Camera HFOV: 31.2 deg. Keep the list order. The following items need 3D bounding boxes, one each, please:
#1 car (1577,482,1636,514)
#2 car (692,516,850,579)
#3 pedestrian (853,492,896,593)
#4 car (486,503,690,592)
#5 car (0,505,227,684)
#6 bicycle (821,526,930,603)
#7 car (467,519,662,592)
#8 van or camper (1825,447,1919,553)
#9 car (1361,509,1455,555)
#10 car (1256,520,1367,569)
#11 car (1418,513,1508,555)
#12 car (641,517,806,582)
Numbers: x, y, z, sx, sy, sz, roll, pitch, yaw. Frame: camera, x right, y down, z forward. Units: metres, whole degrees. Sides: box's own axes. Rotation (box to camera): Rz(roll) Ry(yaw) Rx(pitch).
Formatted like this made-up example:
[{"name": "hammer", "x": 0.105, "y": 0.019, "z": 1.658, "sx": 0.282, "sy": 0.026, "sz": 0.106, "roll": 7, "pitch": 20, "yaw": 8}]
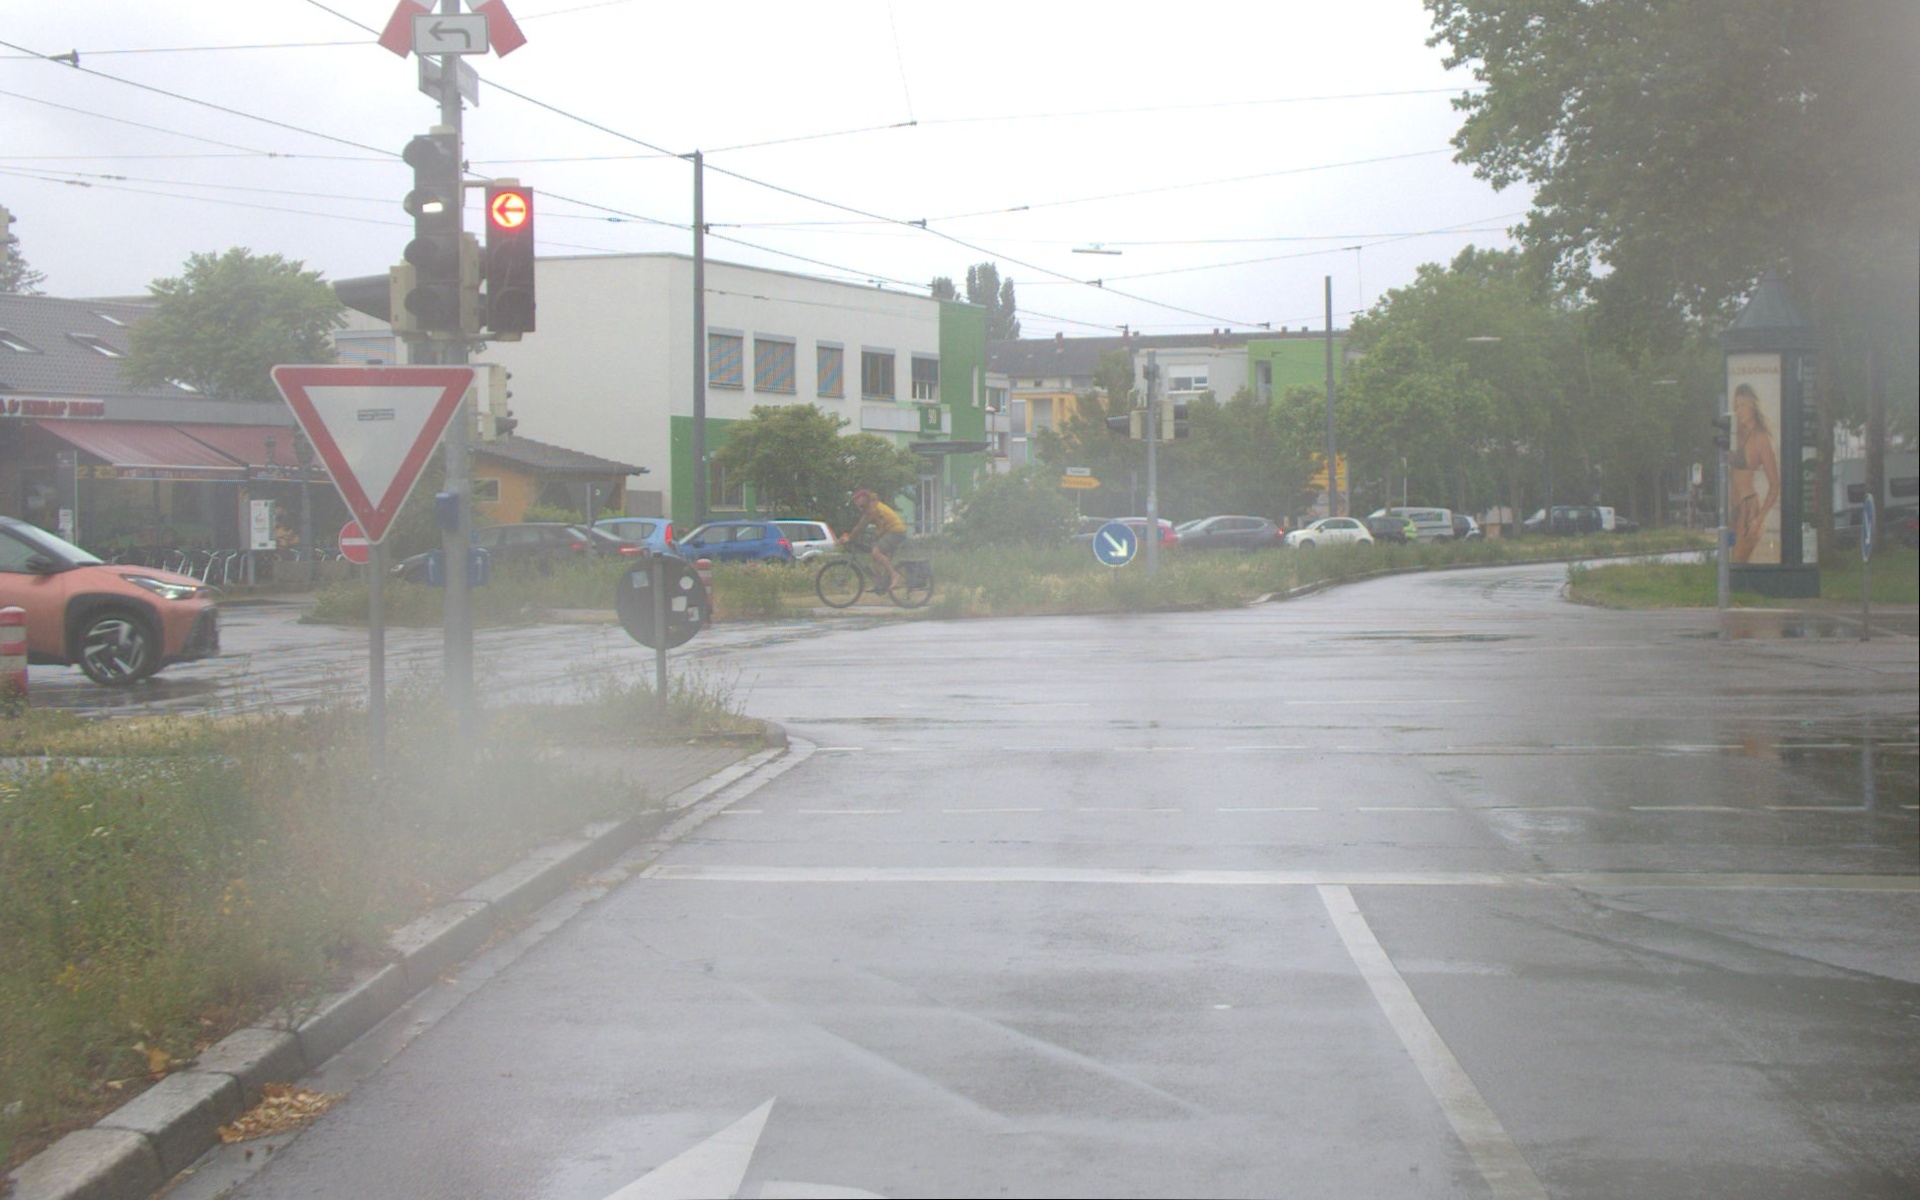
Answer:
[{"name": "car", "x": 41.561, "y": -6.550, "z": 220.987, "sx": 3.446, "sy": 2.007, "sz": 1.806, "roll": -1, "pitch": 1, "yaw": 18}, {"name": "car", "x": -4.602, "y": -1.274, "z": 83.383, "sx": 3.749, "sy": 1.437, "sz": 1.763, "roll": -1, "pitch": 1, "yaw": -5}, {"name": "pedestrian", "x": -1.256, "y": -0.842, "z": 50.526, "sx": 0.576, "sy": 1.470, "sz": 0.500, "roll": -1, "pitch": 1, "yaw": 2}, {"name": "car", "x": -8.124, "y": -1.151, "z": 75.236, "sx": 4.136, "sy": 1.853, "sz": 1.673, "roll": -1, "pitch": 1, "yaw": 8}, {"name": "car", "x": -8.499, "y": -0.039, "z": 30.259, "sx": 3.817, "sy": 1.494, "sz": 1.652, "roll": -1, "pitch": 1, "yaw": -6}, {"name": "bicycle", "x": -1.233, "y": -0.528, "z": 50.527, "sx": 1.561, "sy": 1.098, "sz": 0.500, "roll": -1, "pitch": 1, "yaw": 2}, {"name": "car", "x": -8.236, "y": -0.931, "z": 71.783, "sx": 3.750, "sy": 1.437, "sz": 1.762, "roll": -1, "pitch": 1, "yaw": 4}, {"name": "van or camper", "x": 25.187, "y": -2.571, "z": 88.849, "sx": 5.225, "sy": 2.688, "sz": 2.241, "roll": 2, "pitch": 2, "yaw": 20}, {"name": "car", "x": 20.046, "y": -3.031, "z": 153.911, "sx": 4.136, "sy": 1.969, "sz": 1.673, "roll": -1, "pitch": 1, "yaw": 8}, {"name": "car", "x": 13.922, "y": -2.192, "z": 136.218, "sx": 4.134, "sy": 1.853, "sz": 1.674, "roll": -1, "pitch": 1, "yaw": -3}, {"name": "car", "x": 23.839, "y": -3.132, "z": 163.048, "sx": 4.136, "sy": 1.853, "sz": 1.673, "roll": -1, "pitch": 1, "yaw": 8}, {"name": "car", "x": -5.524, "y": -1.186, "z": 80.122, "sx": 3.749, "sy": 1.437, "sz": 1.763, "roll": -1, "pitch": 1, "yaw": -5}]
